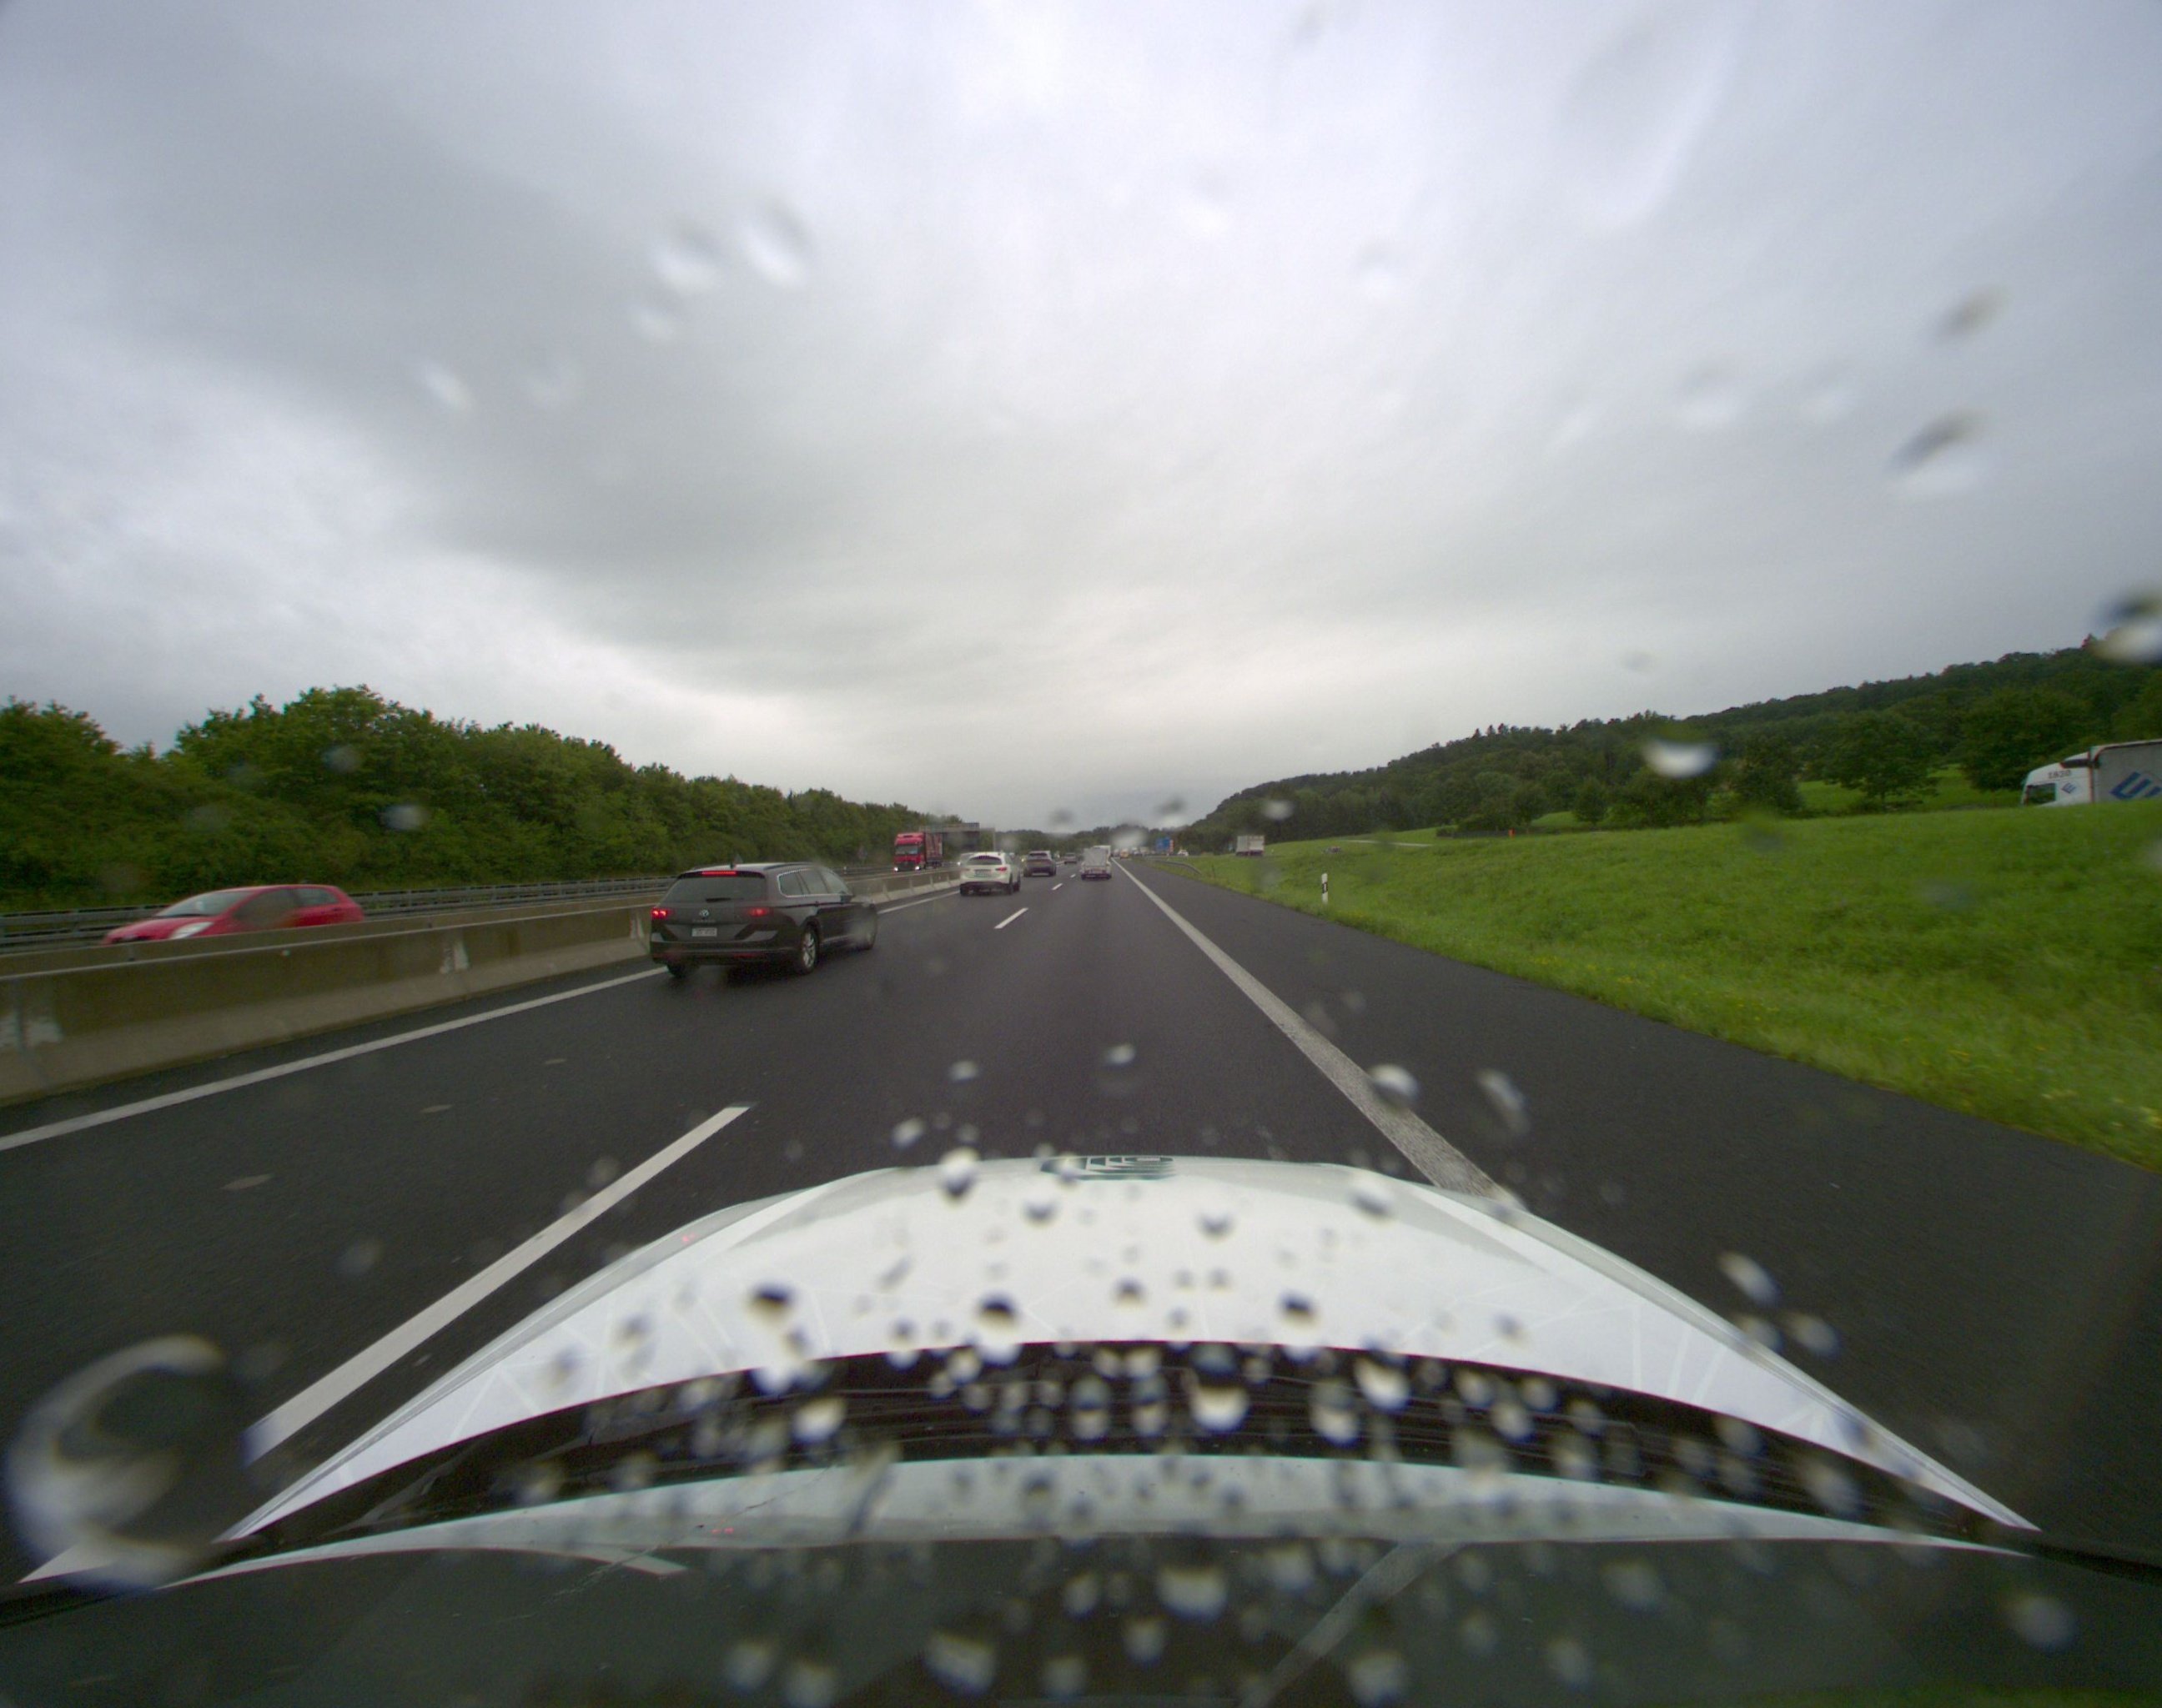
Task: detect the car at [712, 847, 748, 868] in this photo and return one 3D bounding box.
[{"bbox_3d":[-36.219,0.362,84.113,1.742,2.013,4.003,-2,0,3],"label":"car"}]

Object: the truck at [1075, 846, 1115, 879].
[{"bbox_3d":[0.851,0.467,48.809,2.234,1.839,6.585,-1,0,1],"label":"truck"}]

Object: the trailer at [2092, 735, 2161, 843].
[{"bbox_3d":[37.232,-2.161,24.484,2.933,3.527,8.404,0,0,-5],"label":"trailer"}]

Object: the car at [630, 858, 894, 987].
[{"bbox_3d":[-4.274,0.806,11.886,1.780,1.459,4.805,-1,0,2],"label":"car"}]

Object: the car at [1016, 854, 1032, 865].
[{"bbox_3d":[-9.411,0.882,134.569,2.148,1.765,4.962,-1,0,2],"label":"car"}]

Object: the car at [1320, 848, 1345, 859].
[{"bbox_3d":[30.099,-0.002,97.572,1.693,1.288,3.531,0,0,-3],"label":"car"}]

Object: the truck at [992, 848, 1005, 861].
[{"bbox_3d":[-25.008,0.177,246.400,2.676,3.661,9.559,-2,0,1],"label":"truck"}]

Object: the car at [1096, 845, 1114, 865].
[{"bbox_3d":[3.266,0.097,113.531,2.324,2.725,6.539,-1,0,0],"label":"car"}]

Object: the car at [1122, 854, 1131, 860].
[{"bbox_3d":[11.961,0.818,216.334,1.989,1.552,3.995,0,0,-3],"label":"car"}]

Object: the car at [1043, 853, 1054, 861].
[{"bbox_3d":[-6.851,0.613,172.401,1.987,1.836,4.679,0,0,0],"label":"car"}]

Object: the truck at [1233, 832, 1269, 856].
[{"bbox_3d":[26.783,-1.471,128.776,3.815,3.659,8.265,0,0,-2],"label":"truck"}]

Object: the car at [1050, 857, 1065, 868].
[{"bbox_3d":[-3.469,1.254,121.275,1.812,1.662,4.019,-2,0,2],"label":"car"}]

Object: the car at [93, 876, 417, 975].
[{"bbox_3d":[-15.961,1.279,16.189,1.718,1.552,4.583,0,0,1],"label":"car"}]

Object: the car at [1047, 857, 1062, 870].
[{"bbox_3d":[-3.583,1.307,111.013,1.812,1.662,4.019,-2,0,2],"label":"car"}]

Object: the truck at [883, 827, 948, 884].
[{"bbox_3d":[-14.794,0.128,73.712,3.387,4.733,10.490,-1,0,2],"label":"truck"}]

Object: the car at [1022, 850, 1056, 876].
[{"bbox_3d":[-2.851,0.595,56.550,1.968,1.703,4.803,-1,0,1],"label":"car"}]

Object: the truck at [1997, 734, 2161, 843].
[{"bbox_3d":[36.897,-2.186,28.465,2.933,3.527,5.917,0,0,-5],"label":"truck"}]

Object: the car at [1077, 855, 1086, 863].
[{"bbox_3d":[0.167,0.976,162.552,1.639,1.574,4.002,0,0,2],"label":"car"}]

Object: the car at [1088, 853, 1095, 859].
[{"bbox_3d":[2.600,0.477,205.155,1.639,1.574,4.002,0,0,2],"label":"car"}]

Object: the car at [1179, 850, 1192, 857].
[{"bbox_3d":[22.050,-0.057,172.008,1.988,1.552,3.997,0,0,-2],"label":"car"}]

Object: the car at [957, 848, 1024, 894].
[{"bbox_3d":[-3.508,0.633,32.427,2.041,1.670,4.541,-1,0,1],"label":"car"}]

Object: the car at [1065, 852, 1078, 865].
[{"bbox_3d":[-1.417,0.665,119.641,1.732,1.794,4.001,-1,0,1],"label":"car"}]

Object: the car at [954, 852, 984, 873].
[{"bbox_3d":[-10.706,0.754,78.467,1.987,1.863,5.222,-3,0,1],"label":"car"}]
